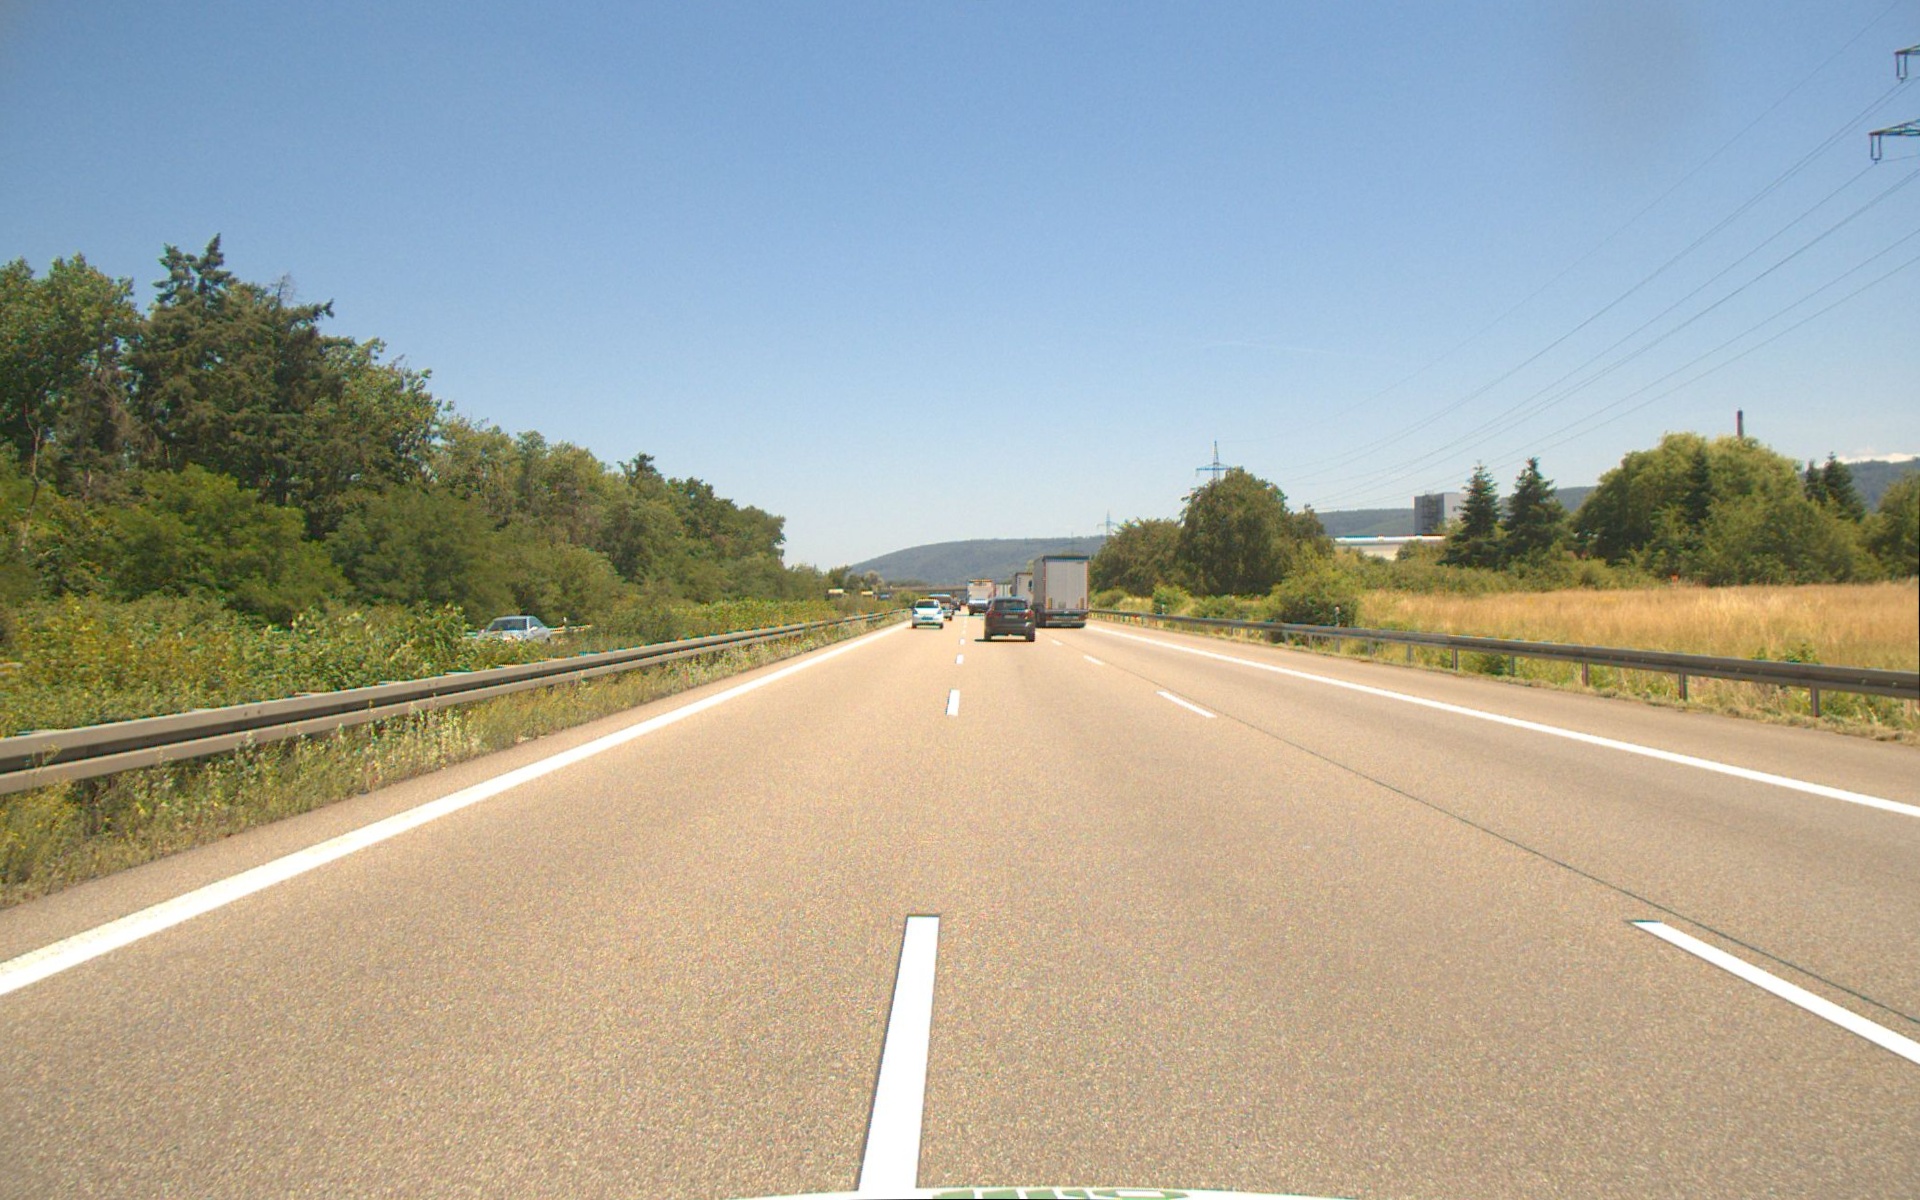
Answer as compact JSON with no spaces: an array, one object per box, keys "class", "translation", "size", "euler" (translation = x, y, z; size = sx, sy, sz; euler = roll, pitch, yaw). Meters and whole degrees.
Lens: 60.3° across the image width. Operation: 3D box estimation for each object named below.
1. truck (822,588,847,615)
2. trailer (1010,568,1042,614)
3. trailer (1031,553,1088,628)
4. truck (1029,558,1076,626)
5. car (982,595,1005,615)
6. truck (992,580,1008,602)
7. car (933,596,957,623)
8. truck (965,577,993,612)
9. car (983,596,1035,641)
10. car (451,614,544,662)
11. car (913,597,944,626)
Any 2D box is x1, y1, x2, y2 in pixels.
[{"class":"truck","translation":[-18.184,0.210,240.566],"size":[2.486,3.698,11.844],"euler":[-3,0,0]},{"class":"trailer","translation":[6.342,-0.820,160.677],"size":[2.731,4.236,13.575],"euler":[-2,0,1]},{"class":"trailer","translation":[5.798,-0.507,98.309],"size":[2.680,4.178,13.122],"euler":[0,0,0]},{"class":"truck","translation":[5.850,-0.498,105.531],"size":[2.680,4.192,6.124],"euler":[0,0,0]},{"class":"car","translation":[2.675,0.403,131.790],"size":[1.766,1.572,4.000],"euler":[0,0,0]},{"class":"truck","translation":[6.068,-1.357,250.497],"size":[2.176,3.265,10.384],"euler":[-1,0,0]},{"class":"car","translation":[-1.100,0.709,121.704],"size":[1.725,1.883,4.000],"euler":[-2,0,0]},{"class":"truck","translation":[1.917,-0.540,167.495],"size":[2.725,3.432,8.127],"euler":[0,0,0]},{"class":"car","translation":[1.819,0.678,62.465],"size":[1.835,1.652,4.004],"euler":[0,0,0]},{"class":"car","translation":[-14.852,1.192,53.354],"size":[1.815,1.403,4.309],"euler":[-1,0,-1]},{"class":"car","translation":[-1.677,0.607,88.383],"size":[1.574,1.493,4.000],"euler":[-2,0,0]}]
